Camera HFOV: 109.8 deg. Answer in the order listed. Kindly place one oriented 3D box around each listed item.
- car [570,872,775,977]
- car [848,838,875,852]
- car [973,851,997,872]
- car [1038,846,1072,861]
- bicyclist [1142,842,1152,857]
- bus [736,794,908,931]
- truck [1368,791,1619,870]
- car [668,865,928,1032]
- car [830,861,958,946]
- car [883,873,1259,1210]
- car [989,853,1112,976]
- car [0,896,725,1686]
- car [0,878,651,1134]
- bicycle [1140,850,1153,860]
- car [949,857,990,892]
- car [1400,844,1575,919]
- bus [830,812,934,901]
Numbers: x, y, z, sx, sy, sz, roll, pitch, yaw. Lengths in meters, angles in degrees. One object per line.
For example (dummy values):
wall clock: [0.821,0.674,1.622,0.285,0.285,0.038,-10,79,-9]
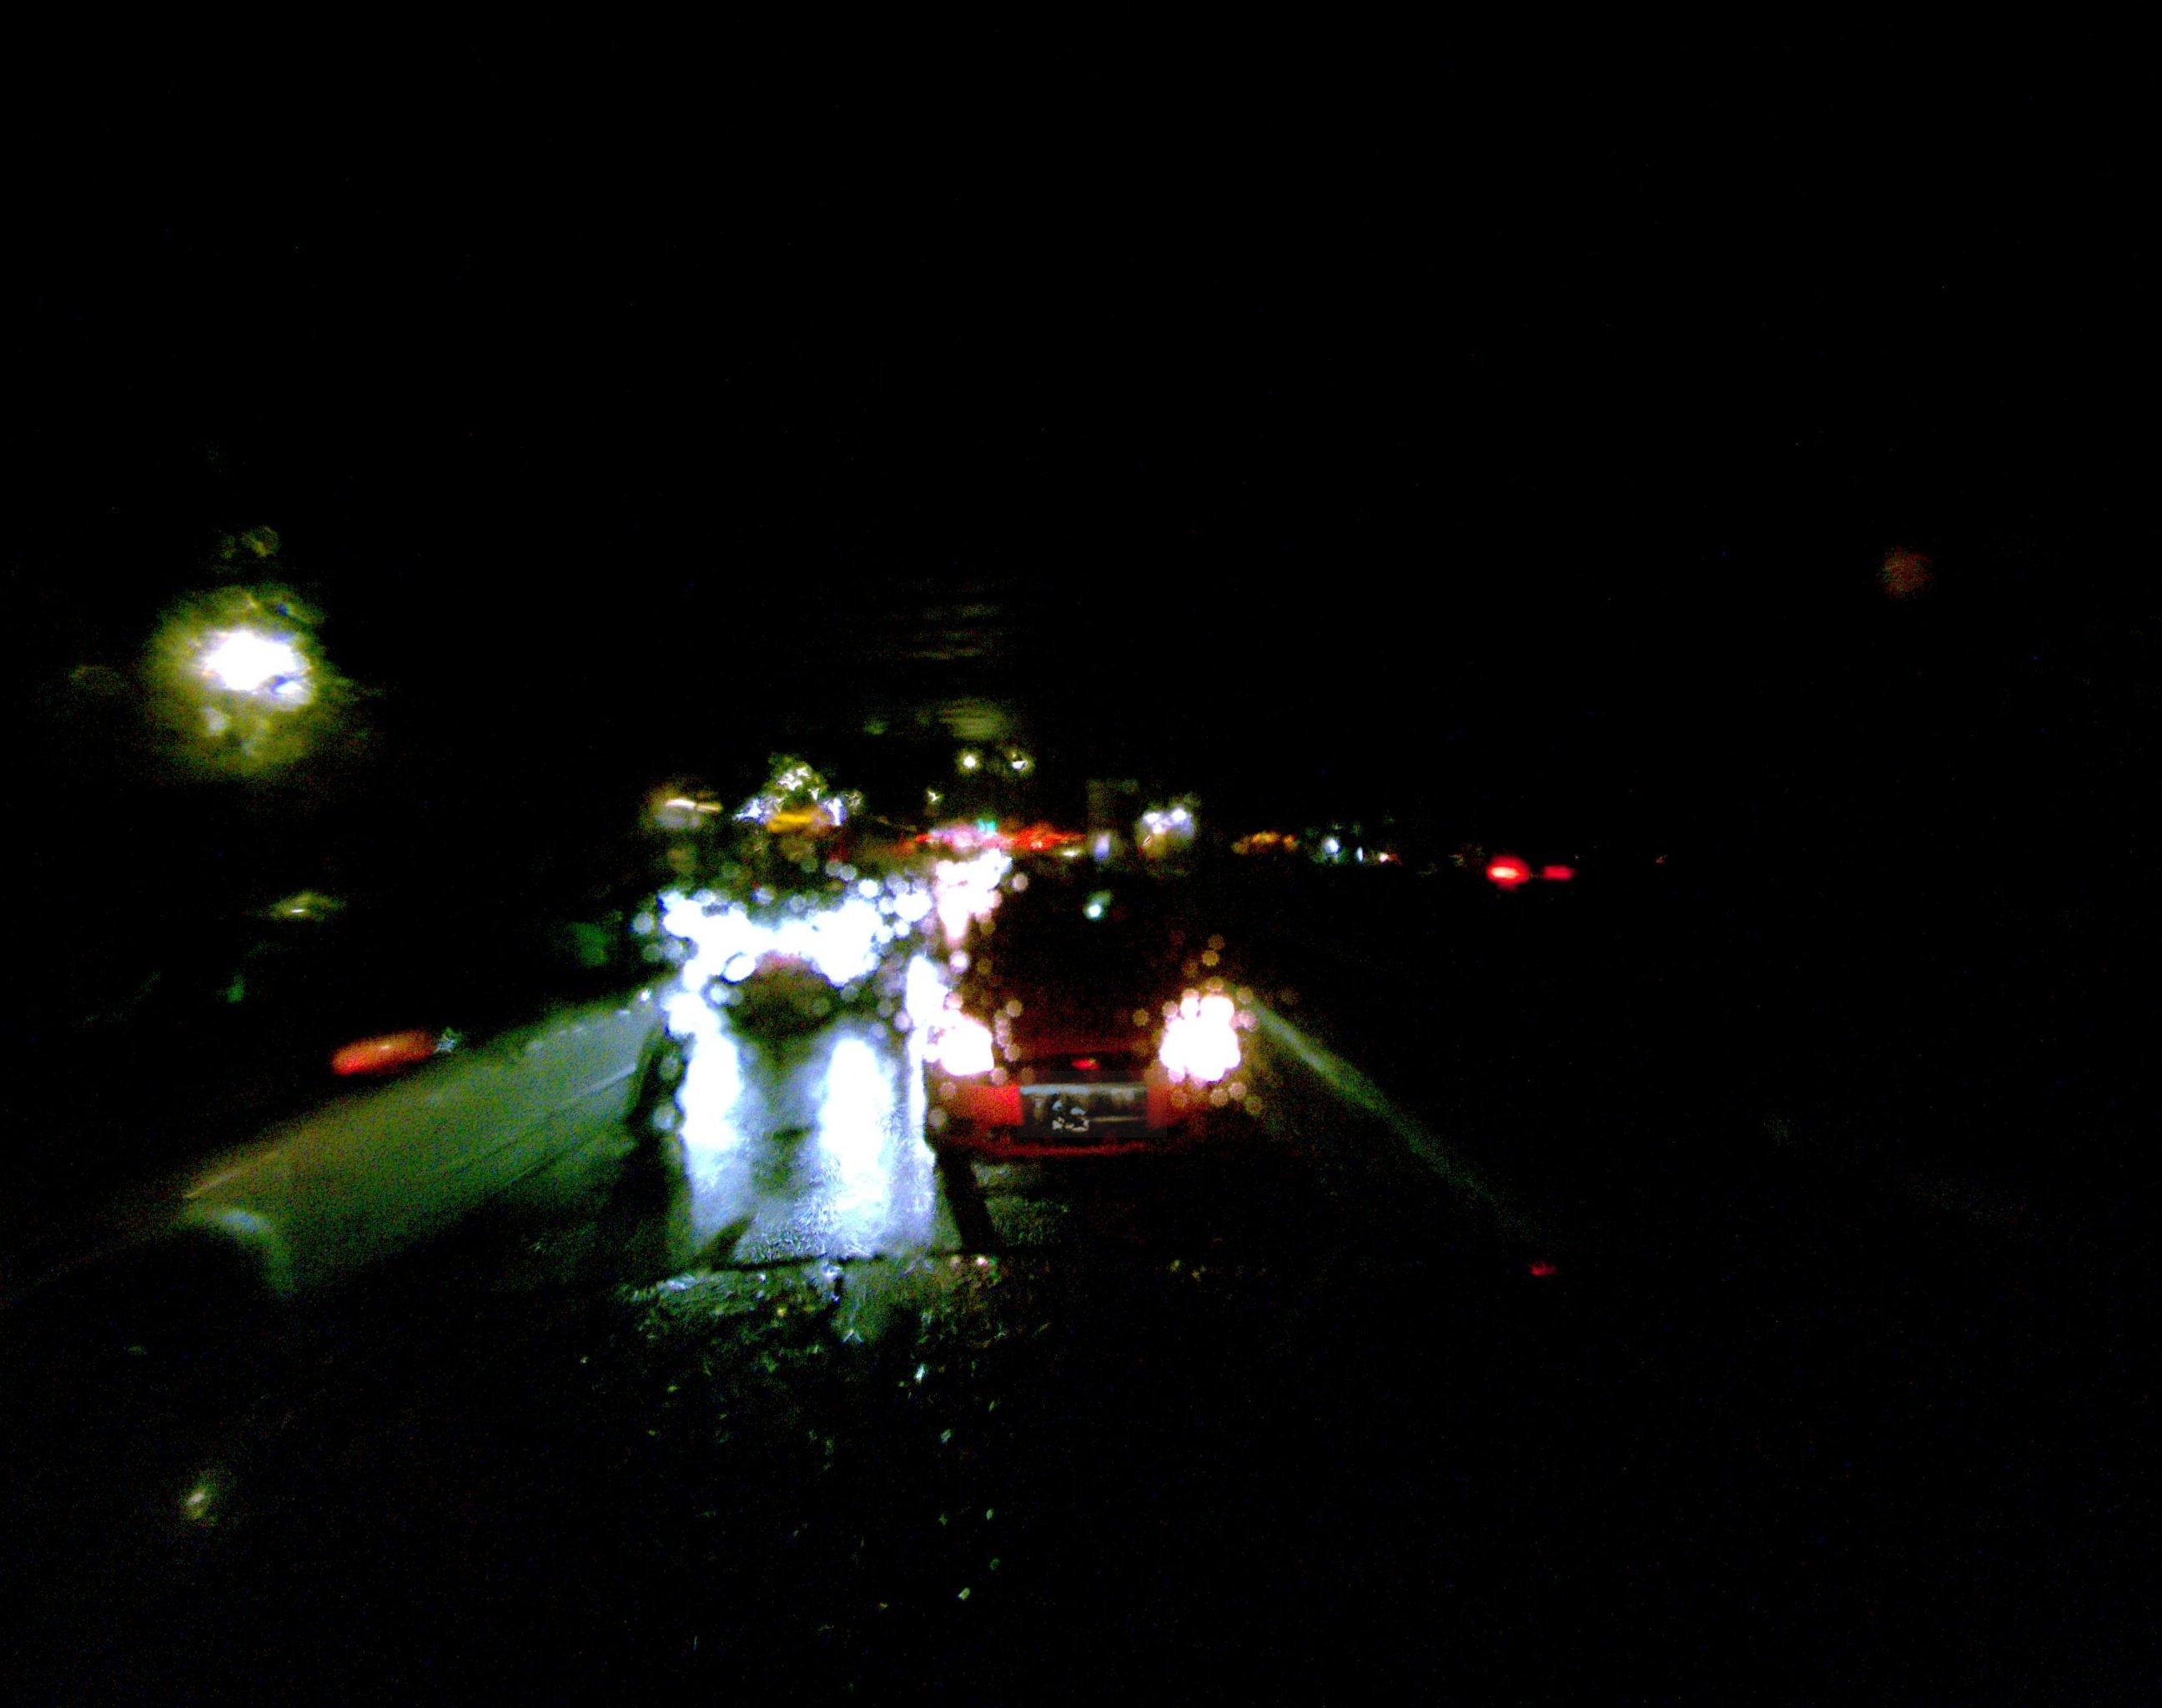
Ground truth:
car: [-7.136,1.134,13.829,1.725,1.478,4.160,0,1,-4]
car: [-23.728,-0.957,81.933,1.712,1.382,3.990,-2,1,-32]
car: [-7.346,0.536,58.314,1.725,1.478,4.159,0,1,-6]
car: [-2.768,-0.065,79.934,2.044,1.478,4.489,0,1,-23]
bicyclist: [6.193,-0.415,71.797,0.629,1.427,1.187,-1,1,-12]
bus: [-7.395,0.147,23.372,2.742,3.258,9.693,-2,1,-5]
truck: [25.379,-1.413,47.397,13.671,4.416,2.743,-1,1,7]
car: [-3.314,0.998,9.857,1.724,1.478,4.161,-4,1,0]
car: [-3.693,0.921,15.729,1.698,1.455,3.973,0,1,0]
car: [-0.062,0.937,5.551,1.755,1.438,3.973,0,1,0]
car: [-0.517,0.849,12.688,1.724,1.695,3.972,0,1,-3]
car: [-3.154,1.032,2.786,1.724,1.438,4.161,-1,1,0]
car: [-6.434,1.090,7.450,1.724,1.478,4.786,-1,1,0]
bicycle: [6.169,0.112,71.886,0.629,0.899,2.211,-1,1,-12]
car: [-5.280,0.939,36.320,1.725,1.478,4.159,0,1,-6]
car: [10.171,0.601,19.494,1.755,1.699,4.496,0,1,-5]
bus: [-8.318,0.027,32.985,2.742,3.219,9.693,-2,1,-5]
